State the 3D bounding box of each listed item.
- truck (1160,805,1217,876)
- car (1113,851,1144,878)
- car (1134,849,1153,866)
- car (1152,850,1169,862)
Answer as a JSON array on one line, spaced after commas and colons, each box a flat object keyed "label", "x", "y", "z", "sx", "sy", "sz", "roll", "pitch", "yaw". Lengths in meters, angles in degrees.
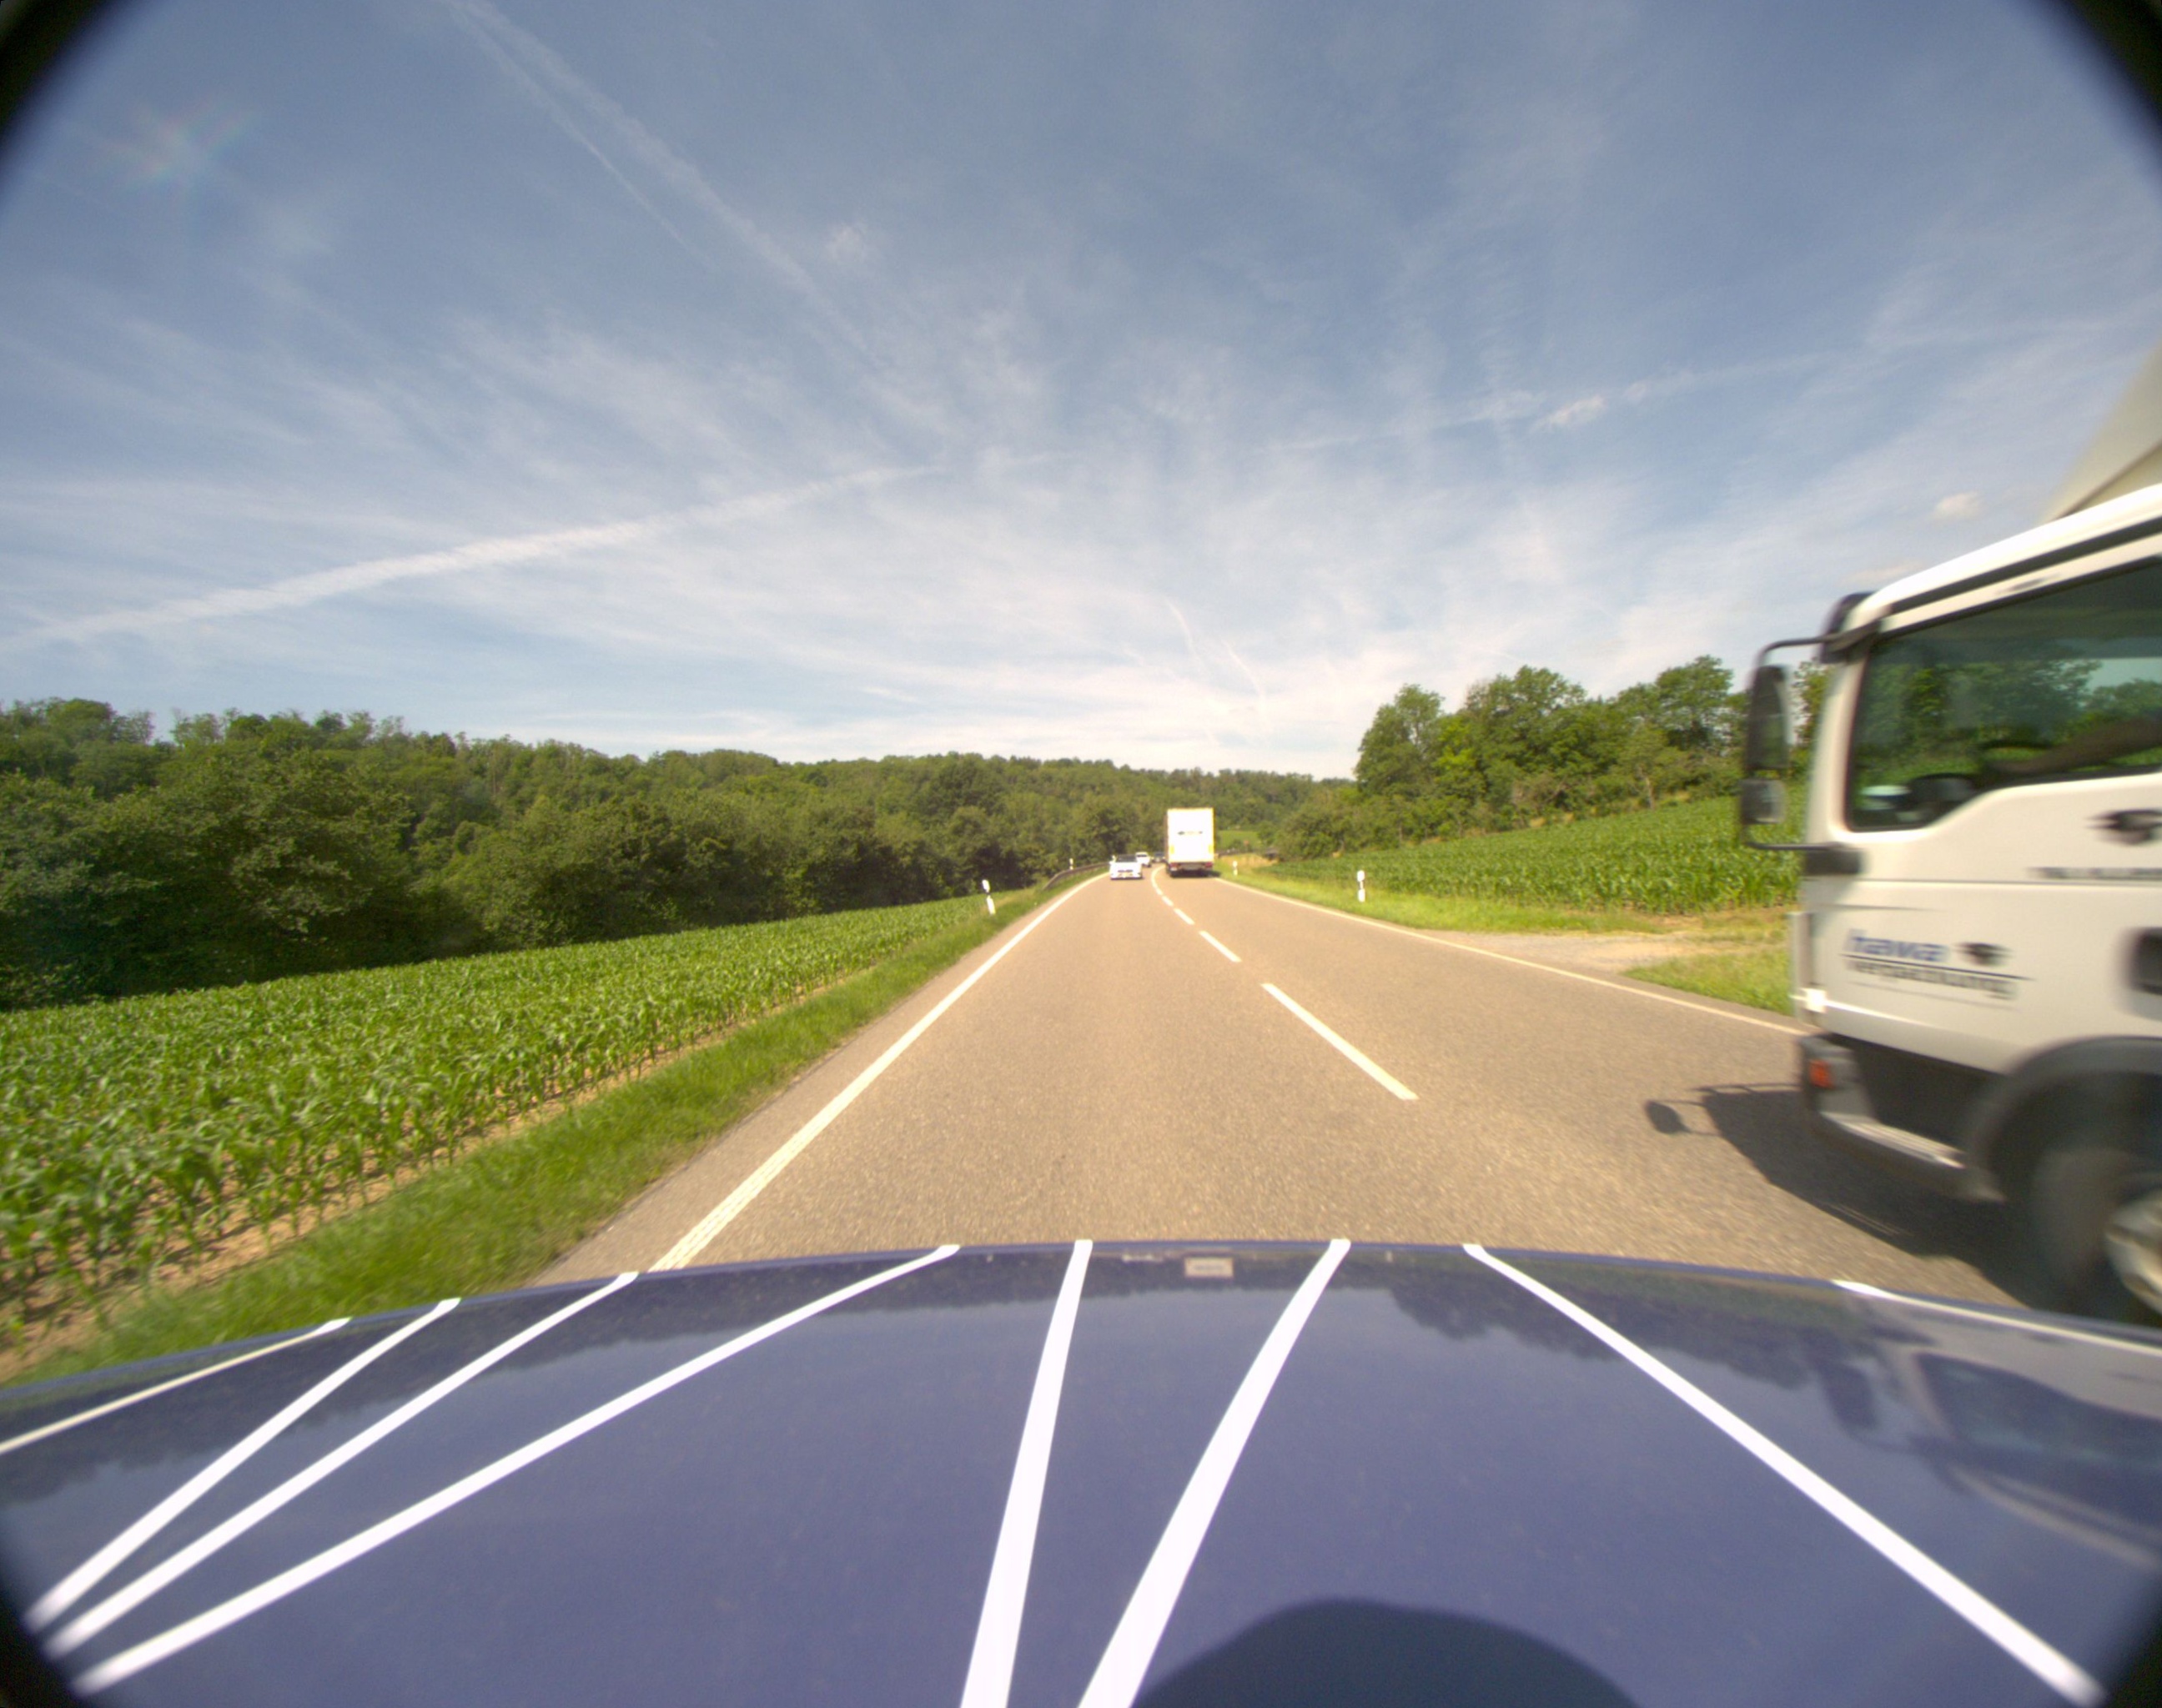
[{"label": "truck", "x": 7.051, "y": -0.823, "z": 51.985, "sx": 2.777, "sy": 3.975, "sz": 17.032, "roll": -1, "pitch": 0, "yaw": 5}, {"label": "car", "x": 2.871, "y": 0.615, "z": 45.494, "sx": 1.742, "sy": 1.445, "sz": 4.036, "roll": -1, "pitch": 1, "yaw": 4}, {"label": "car", "x": 6.347, "y": 0.338, "z": 76.773, "sx": 1.716, "sy": 1.523, "sz": 4.001, "roll": -2, "pitch": 1, "yaw": 8}, {"label": "car", "x": 10.591, "y": 0.197, "z": 101.355, "sx": 1.741, "sy": 1.445, "sz": 4.039, "roll": -1, "pitch": 1, "yaw": 13}]
